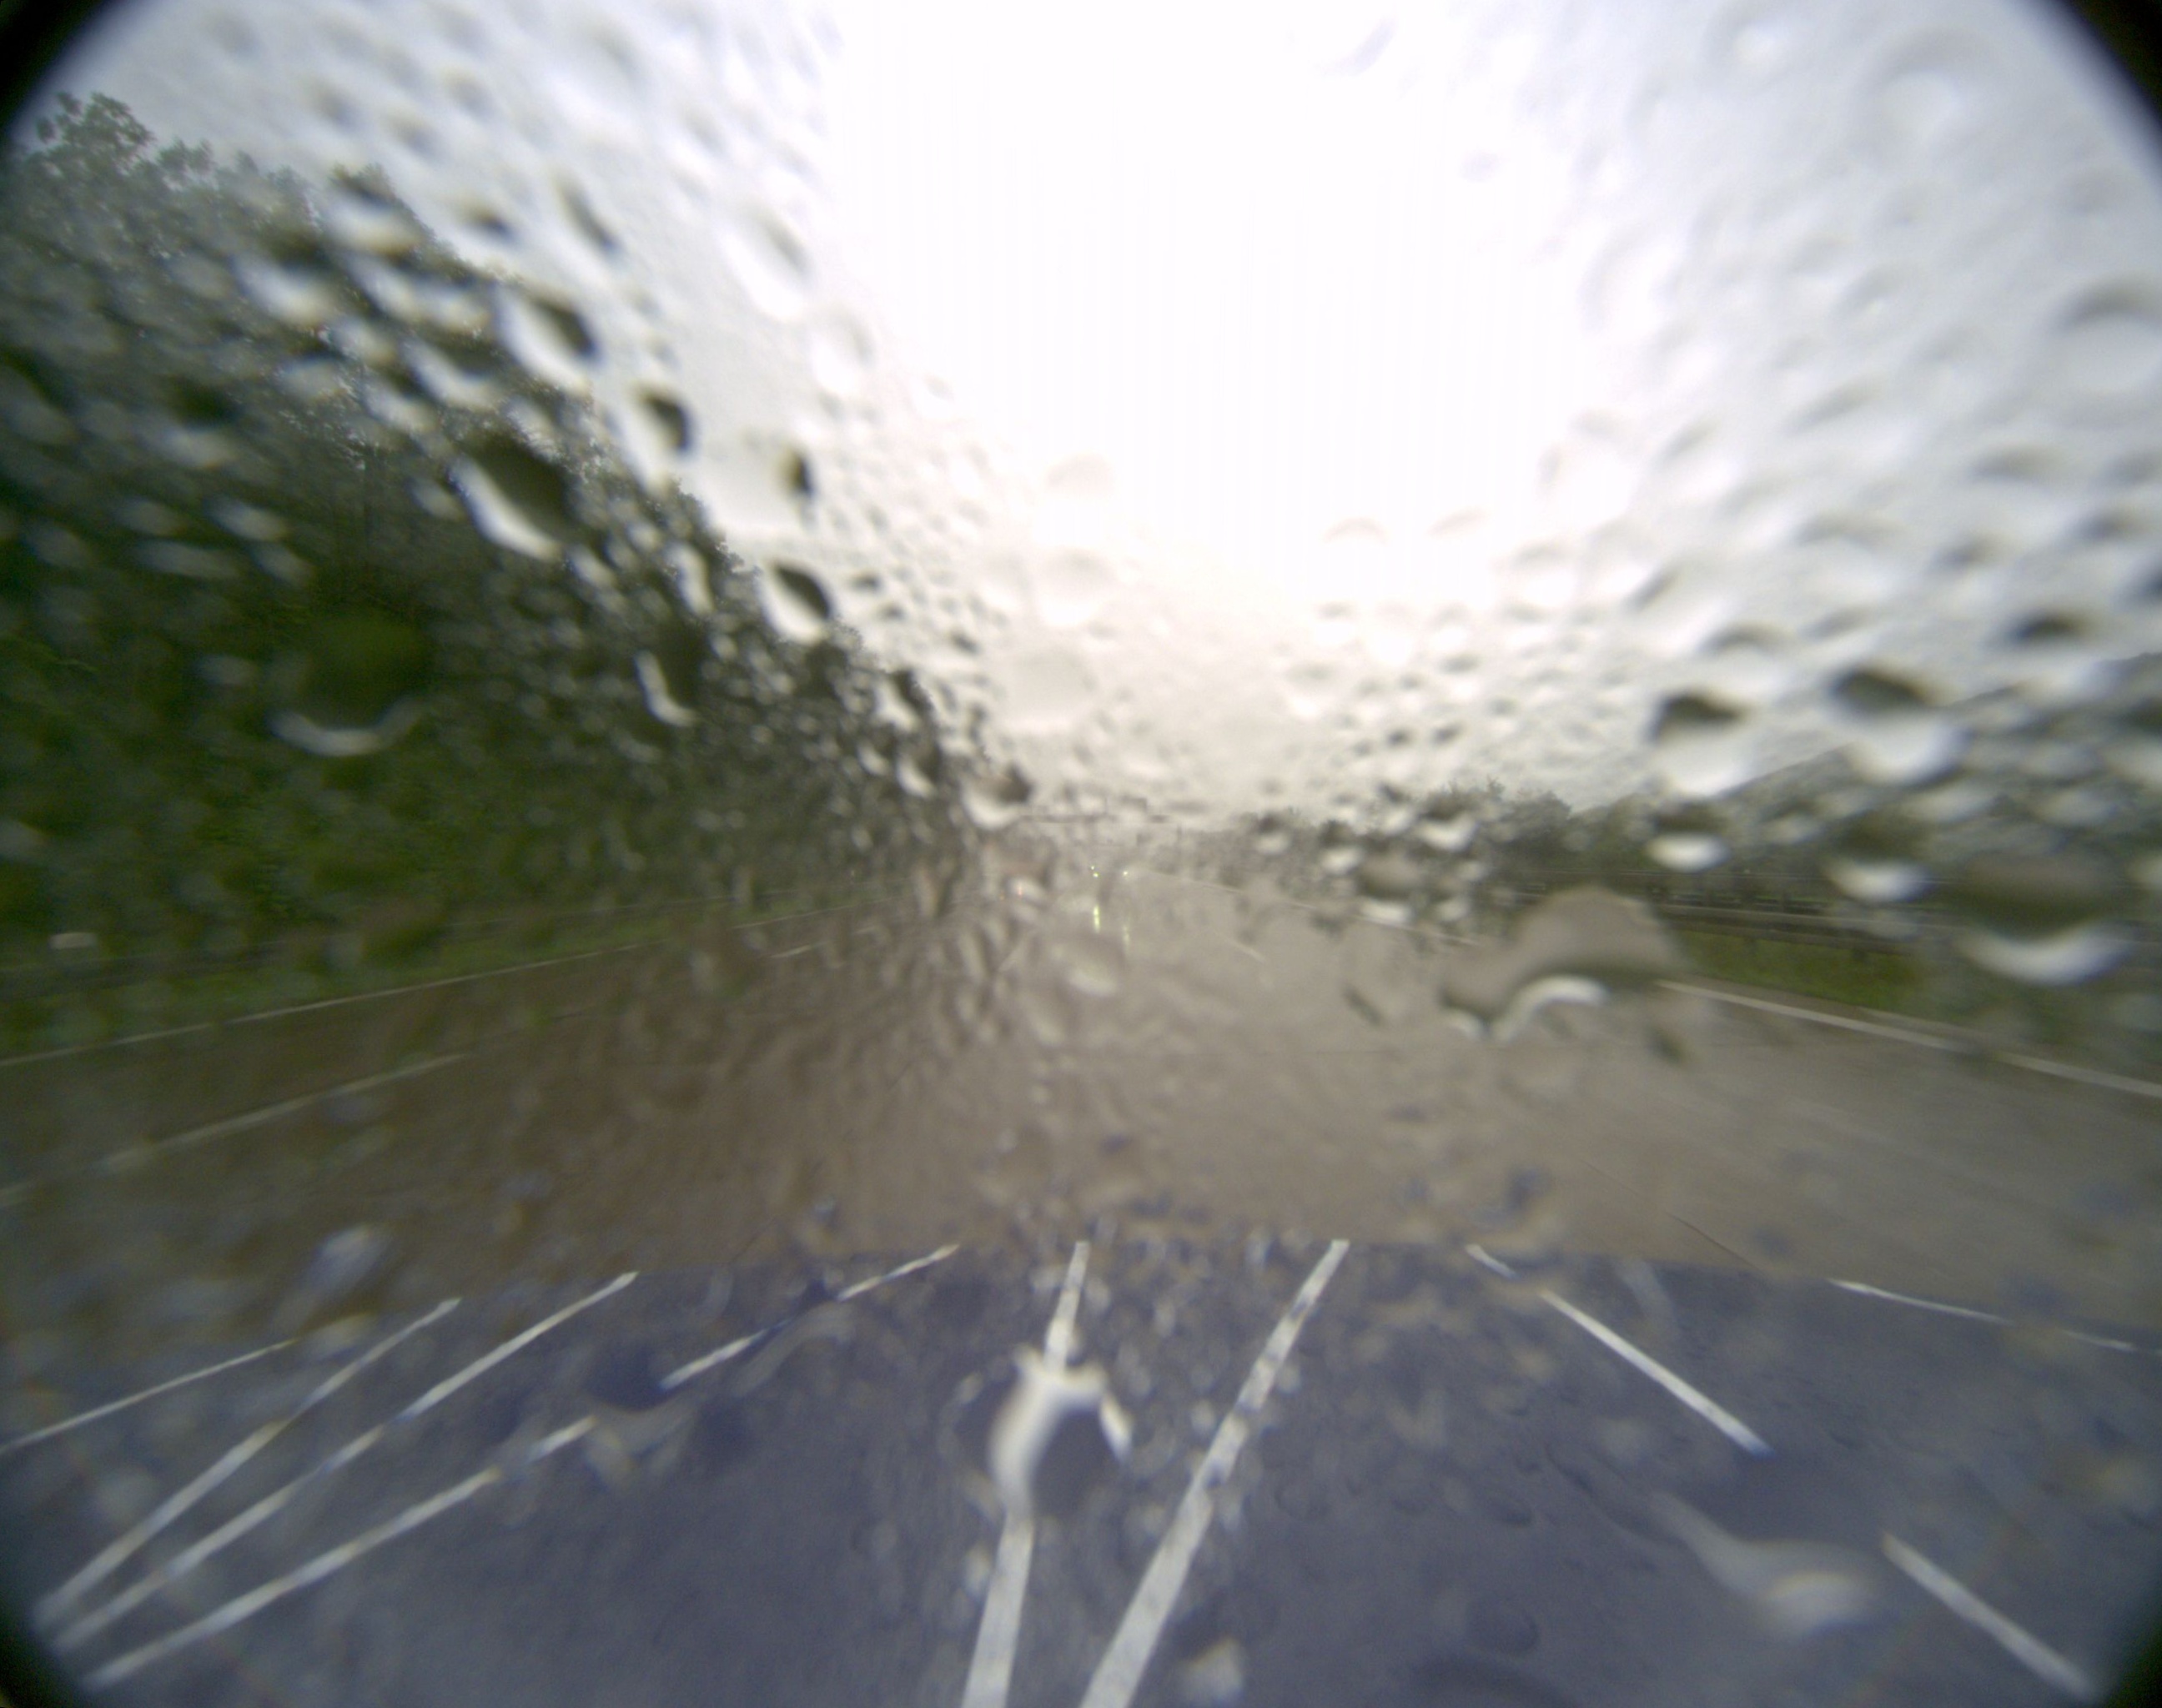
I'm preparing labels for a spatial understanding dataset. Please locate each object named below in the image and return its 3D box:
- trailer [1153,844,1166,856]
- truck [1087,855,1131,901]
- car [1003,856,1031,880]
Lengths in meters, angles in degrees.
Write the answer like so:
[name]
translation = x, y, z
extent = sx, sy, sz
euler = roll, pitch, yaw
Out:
[trailer]
translation = 26.856, -1.362, 260.262
extent = 3.363, 4.149, 11.401
euler = -2, 0, 0
[truck]
translation = 1.321, 1.102, 38.439
extent = 1.998, 2.002, 7.575
euler = -1, 0, 1
[car]
translation = -5.615, 1.205, 66.922
extent = 1.858, 2.002, 4.001
euler = -2, 0, 4
